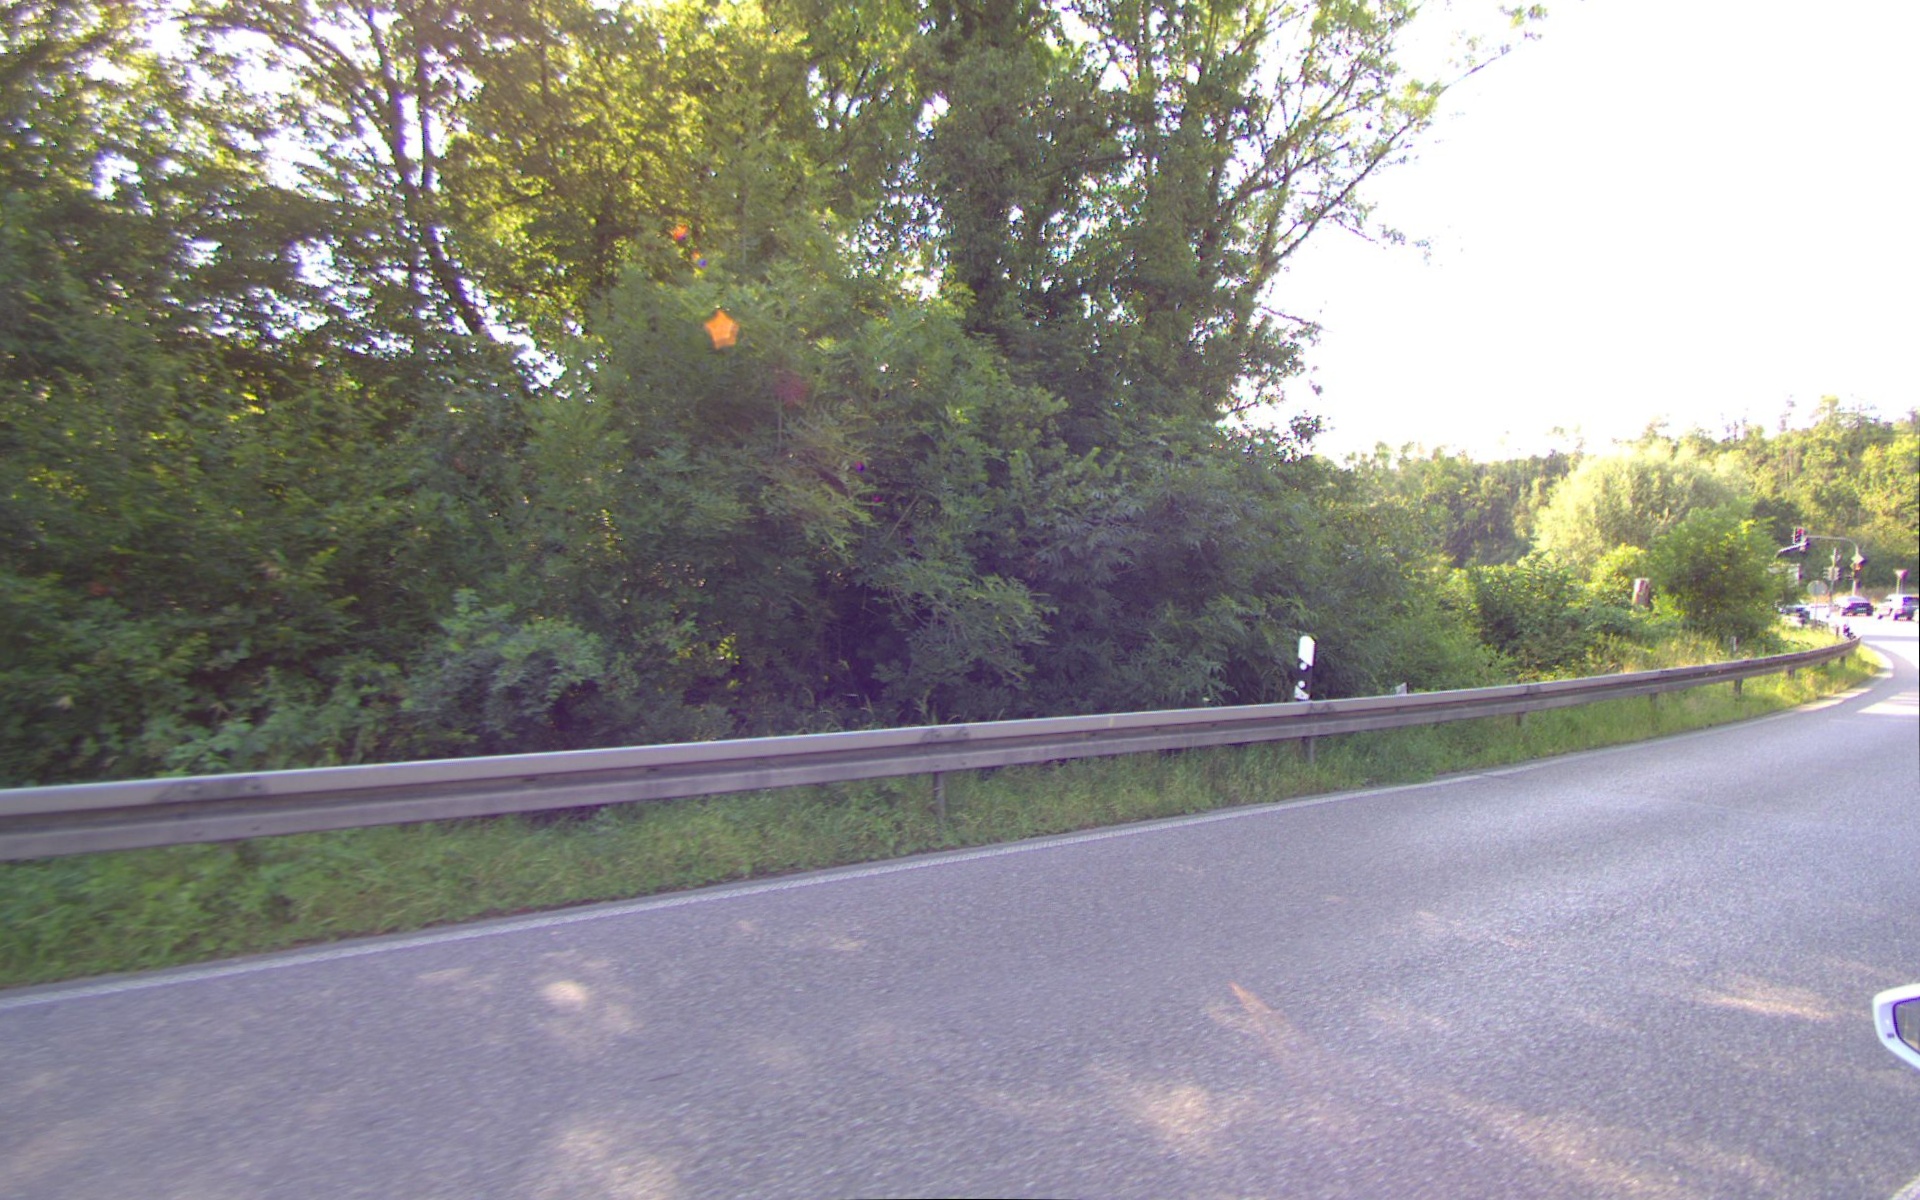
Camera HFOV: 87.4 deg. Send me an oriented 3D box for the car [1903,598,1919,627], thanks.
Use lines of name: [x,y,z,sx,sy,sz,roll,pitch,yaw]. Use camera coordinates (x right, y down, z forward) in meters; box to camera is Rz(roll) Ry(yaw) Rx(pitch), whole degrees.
car: [57.543,0.767,59.230,1.840,1.706,3.992,3,2,29]

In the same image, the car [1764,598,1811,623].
car: [54.593,0.698,66.301,1.841,1.586,3.991,0,0,31]

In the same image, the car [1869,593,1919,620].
car: [60.890,0.423,65.235,1.840,1.616,3.992,3,2,29]

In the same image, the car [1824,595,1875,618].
car: [64.562,0.445,72.943,1.839,1.586,3.993,3,2,28]

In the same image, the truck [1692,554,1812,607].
truck: [73.811,-1.809,93.693,10.064,4.646,3.014,1,1,-13]
